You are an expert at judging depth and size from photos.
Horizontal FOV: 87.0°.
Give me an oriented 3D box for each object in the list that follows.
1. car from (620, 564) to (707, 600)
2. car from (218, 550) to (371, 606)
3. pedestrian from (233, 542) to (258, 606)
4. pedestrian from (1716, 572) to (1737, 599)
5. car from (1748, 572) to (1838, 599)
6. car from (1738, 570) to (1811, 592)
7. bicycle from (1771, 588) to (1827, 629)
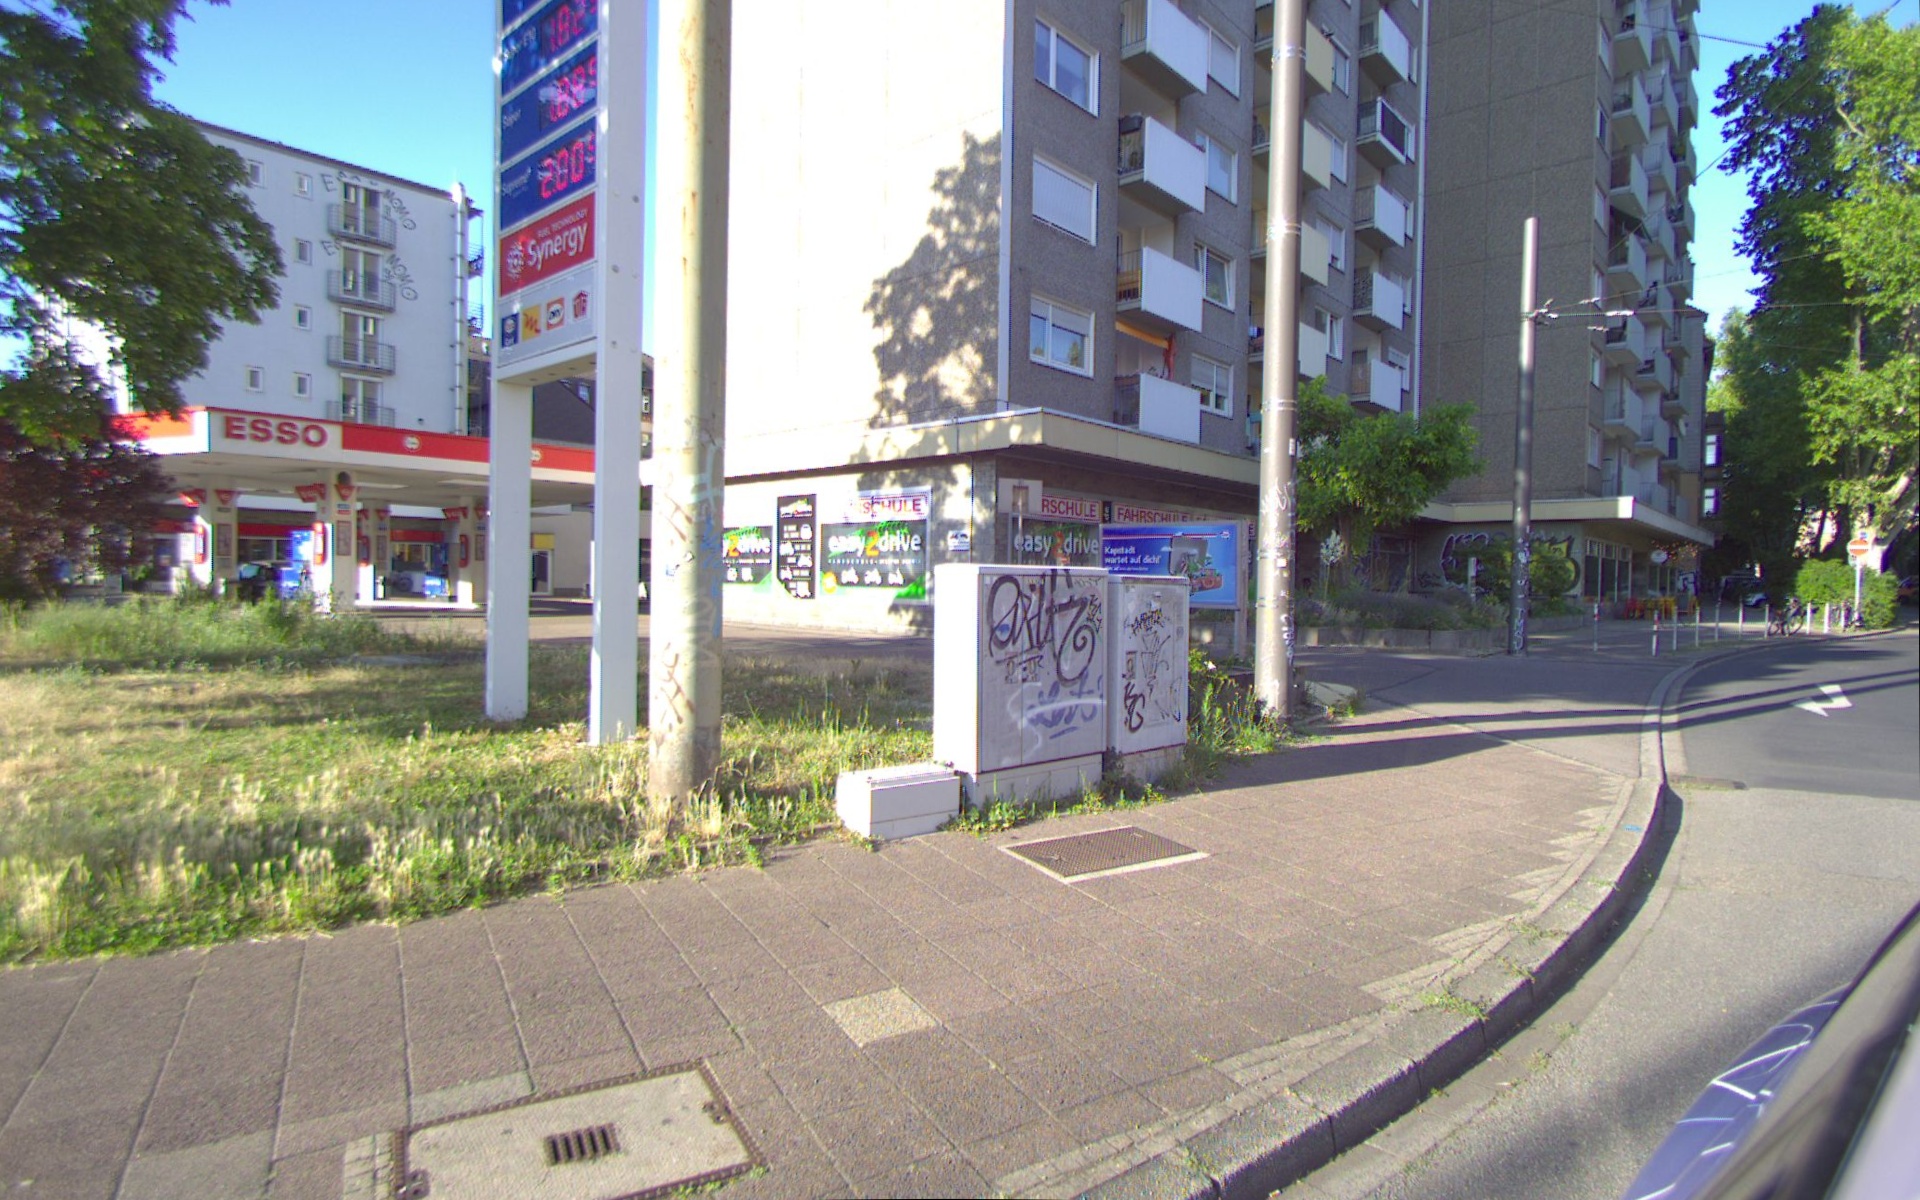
[{"bbox_3d":[-12.612,-0.790,42.915,4.244,1.437,1.723,2,2,45],"label":"car"},{"bbox_3d":[-19.072,-0.664,28.990,3.962,1.370,1.982,4,3,27],"label":"car"},{"bbox_3d":[-19.472,-0.720,27.568,0.416,1.726,0.417,1,1,27],"label":"pedestrian"},{"bbox_3d":[59.955,-1.129,79.165,1.205,2.039,1.192,1,1,34],"label":"pedestrian"},{"bbox_3d":[50.256,-0.890,61.137,3.971,1.527,1.864,2,2,33],"label":"car"},{"bbox_3d":[60.204,-1.401,74.901,3.971,1.527,1.864,2,2,33],"label":"car"},{"bbox_3d":[24.230,0.235,29.214,2.236,1.148,0.610,0,1,-34],"label":"bicycle"}]
